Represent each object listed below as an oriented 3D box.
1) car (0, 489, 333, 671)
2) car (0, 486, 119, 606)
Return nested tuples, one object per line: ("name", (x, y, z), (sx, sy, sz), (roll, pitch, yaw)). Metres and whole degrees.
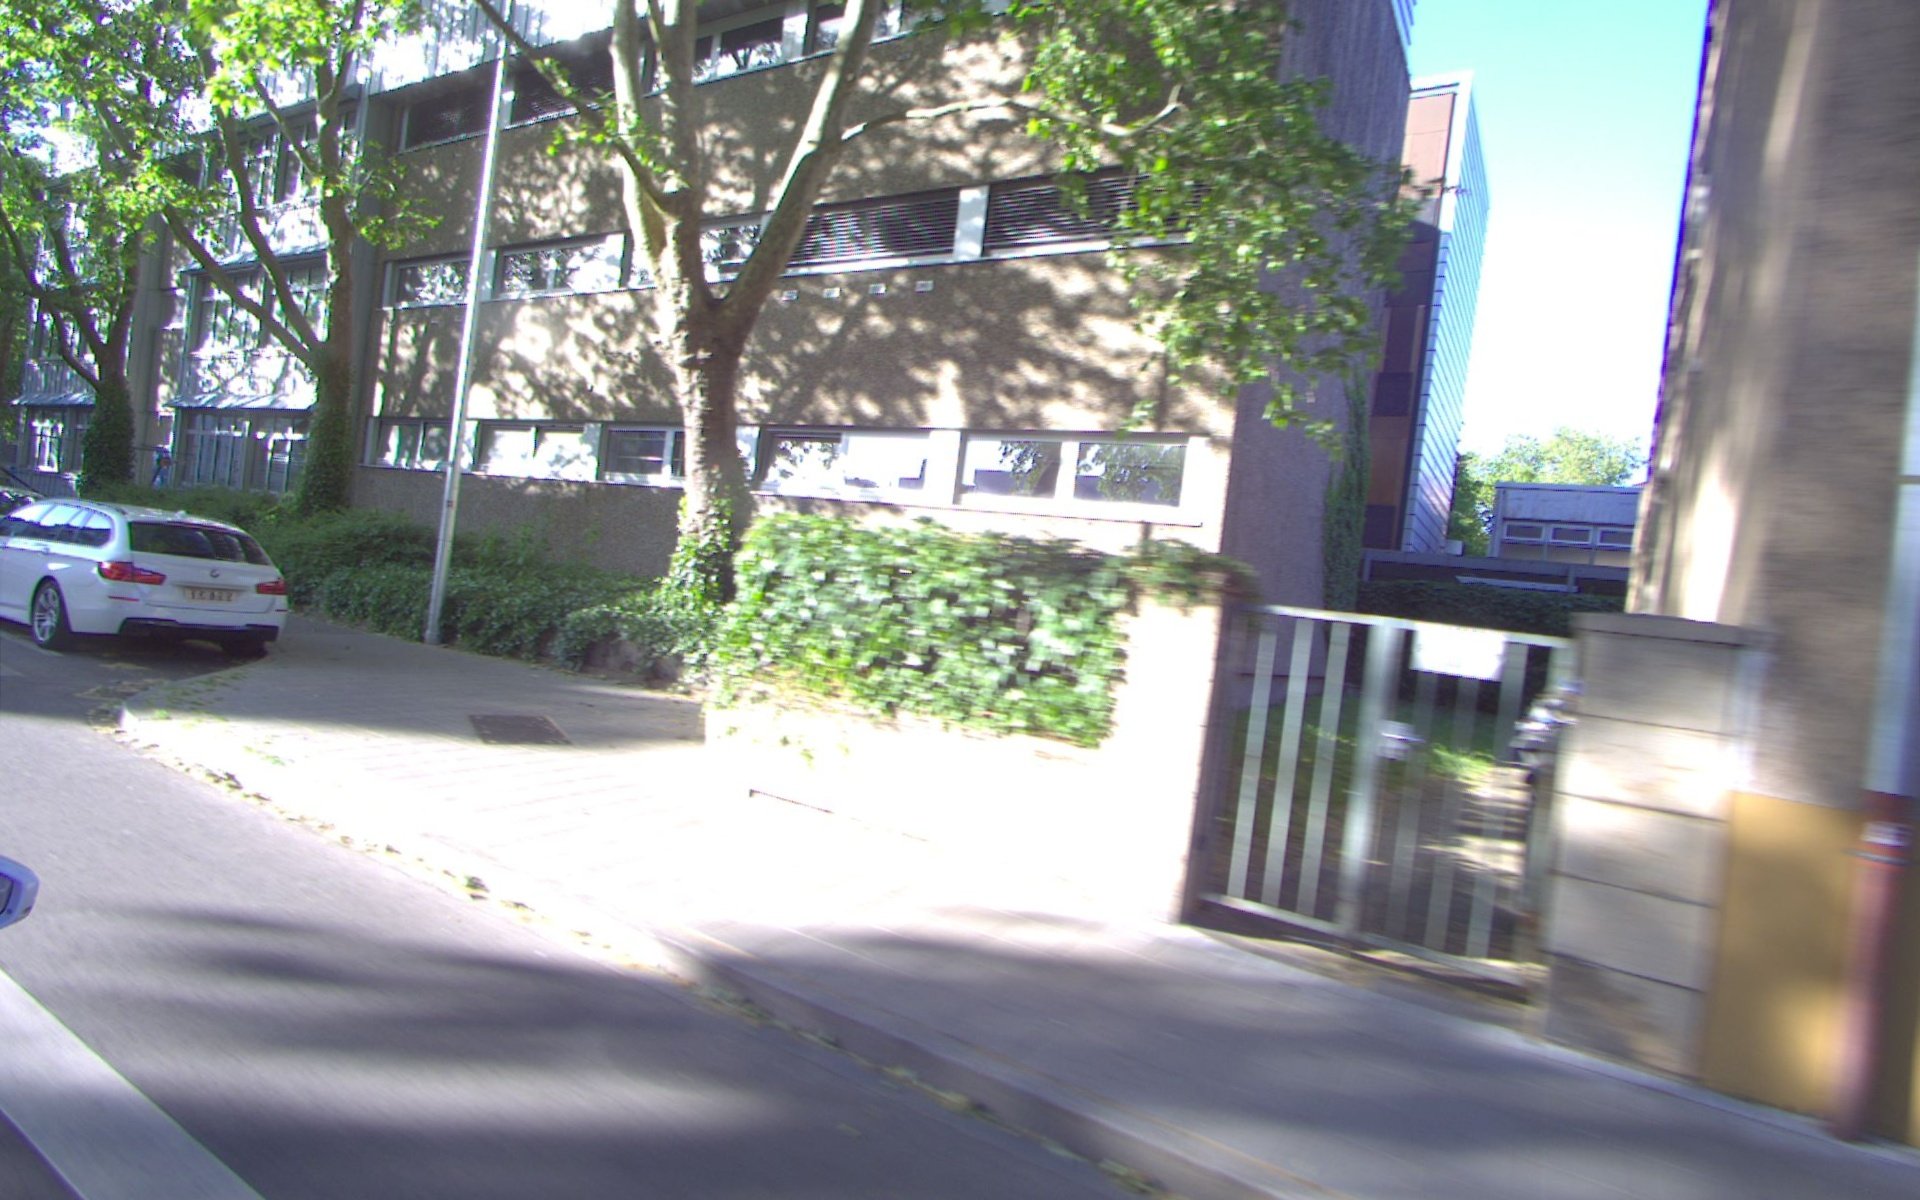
("car", (-9.296, -0.311, 11.021), (4.884, 1.454, 1.859), (7, 0, 29))
("car", (-14.219, -0.964, 14.413), (4.525, 1.454, 1.858), (7, -1, 31))
